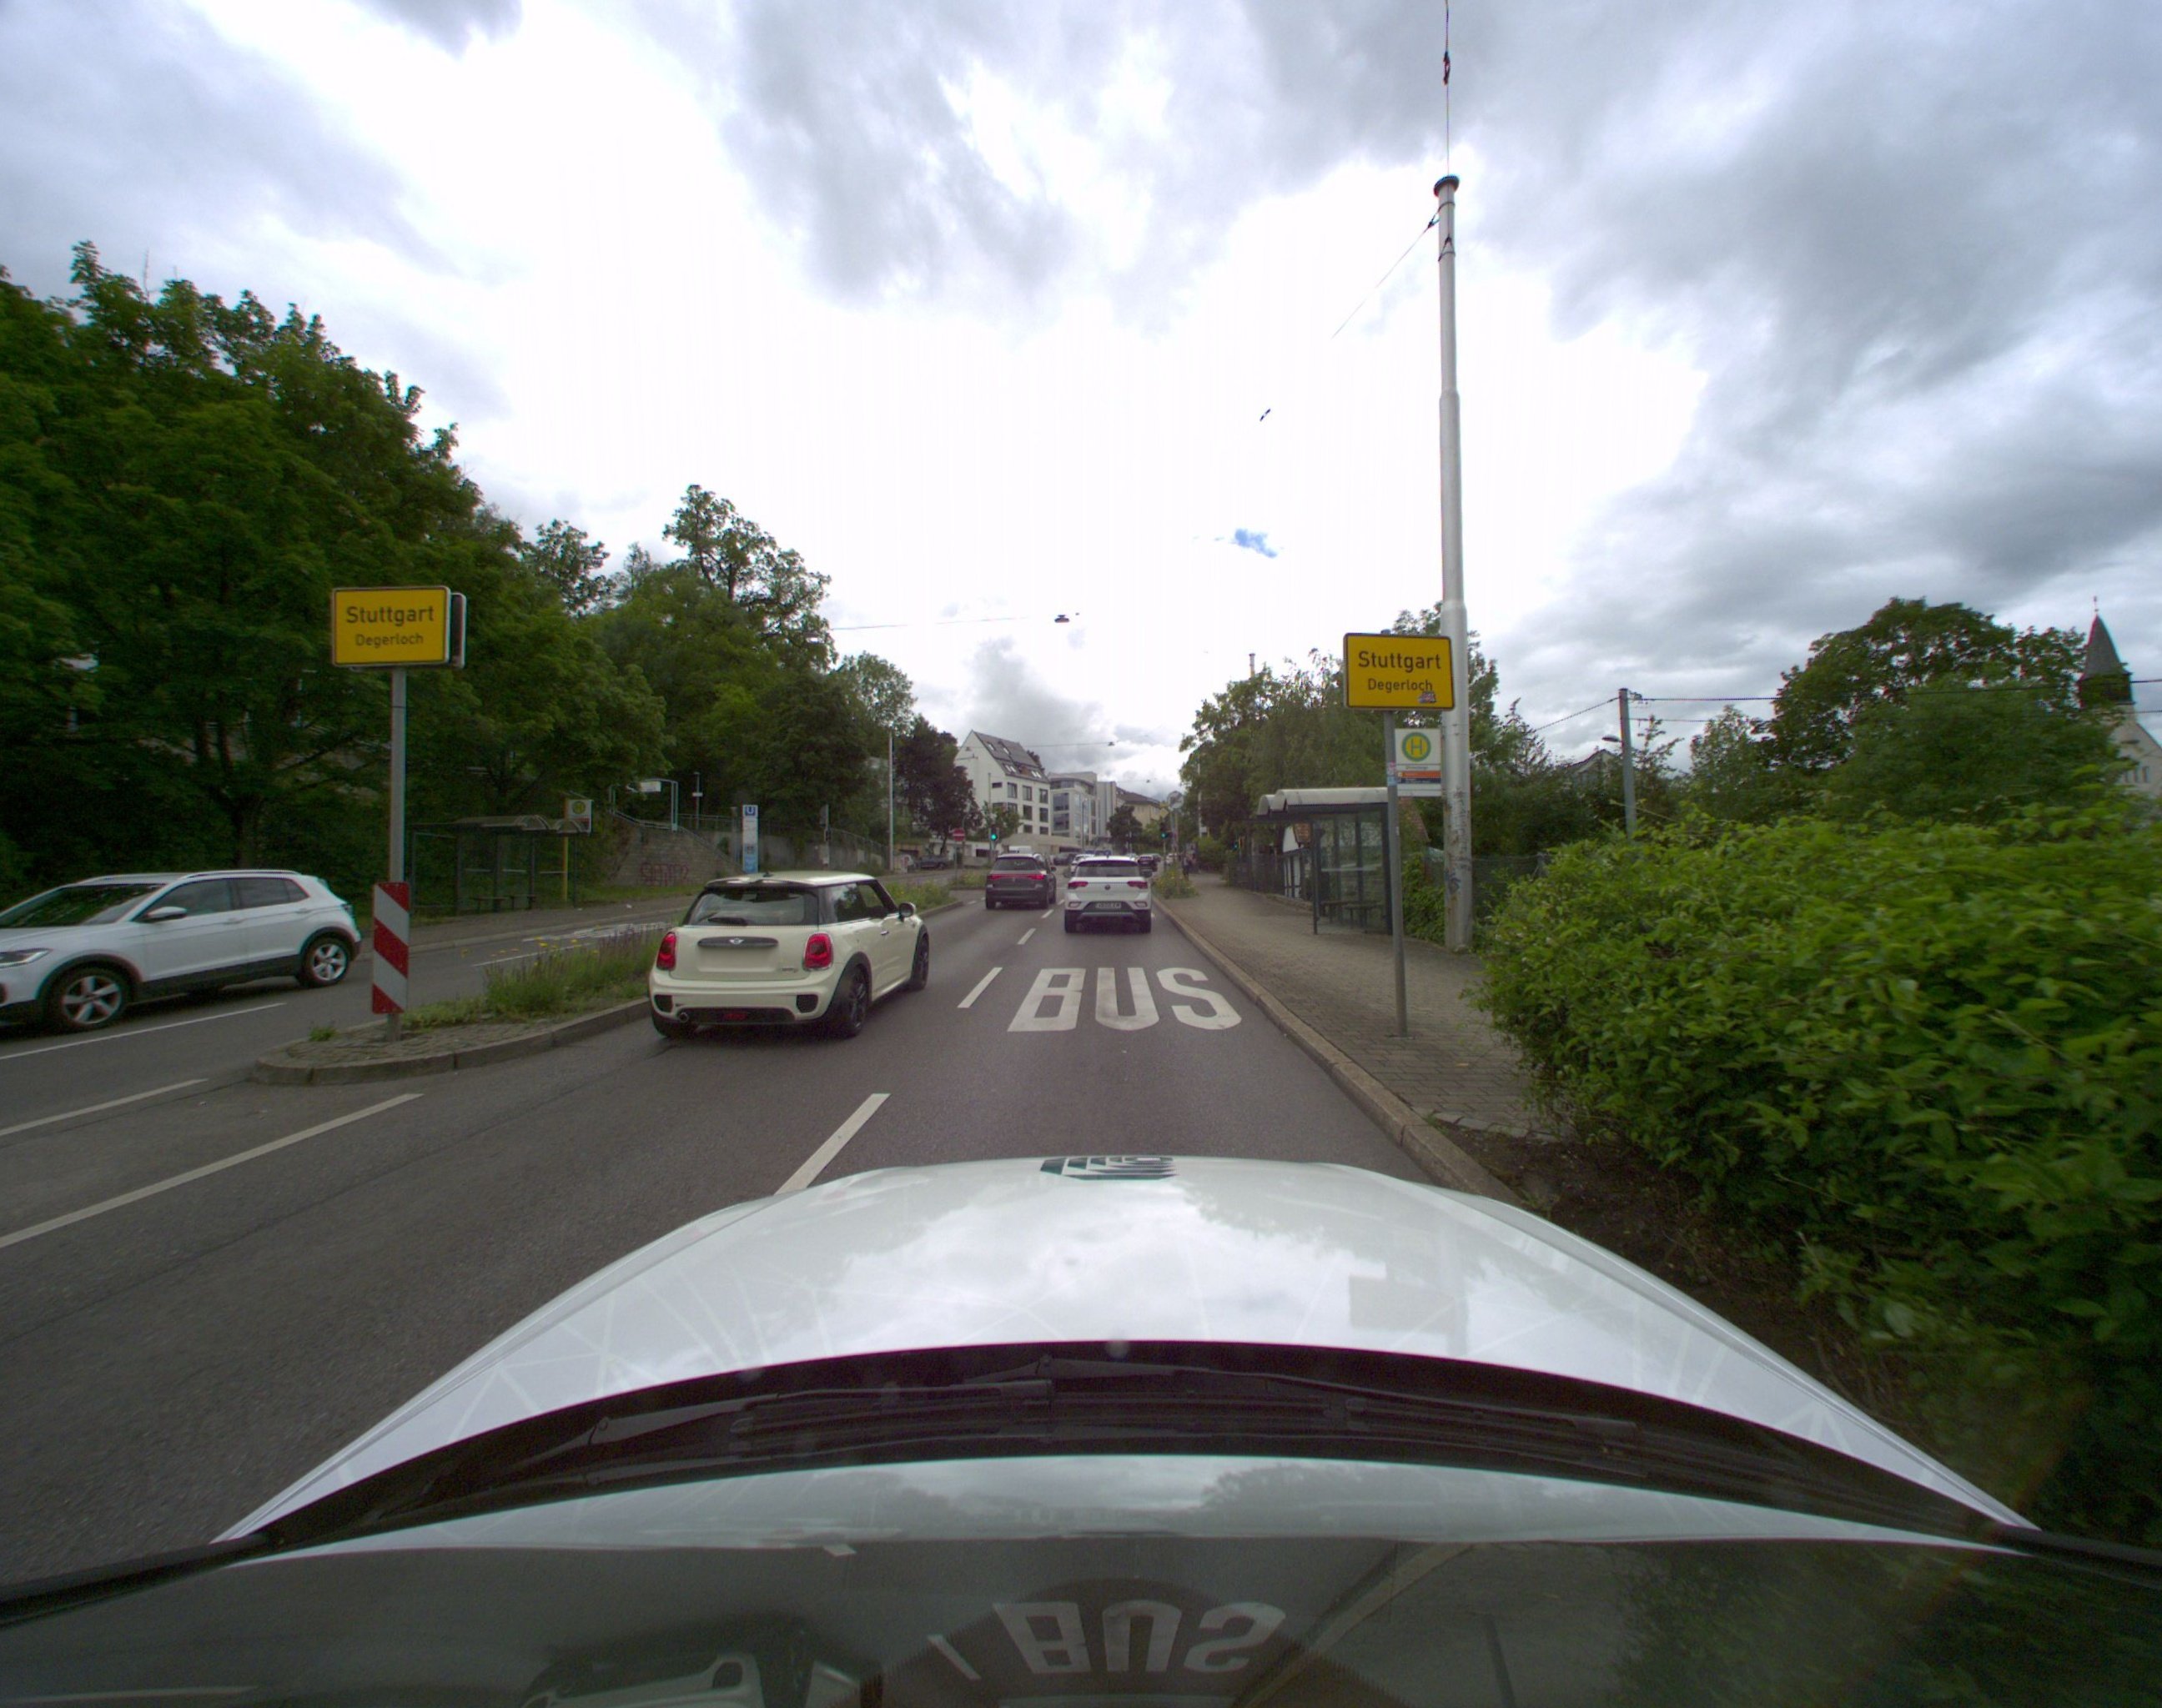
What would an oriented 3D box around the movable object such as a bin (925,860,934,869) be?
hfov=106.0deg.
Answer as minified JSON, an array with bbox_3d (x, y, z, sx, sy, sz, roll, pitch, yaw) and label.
[{"bbox_3d":[-16.134,1.118,86.833,0.633,1.012,0.735,0,-1,37],"label":"movable object such as a bin"}]

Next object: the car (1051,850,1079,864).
[{"bbox_3d":[-2.200,0.420,115.020,1.965,1.967,5.246,-1,0,22],"label":"car"}]

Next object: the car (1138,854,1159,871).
[{"bbox_3d":[6.255,0.797,75.272,1.864,1.501,4.561,2,0,5],"label":"car"}]

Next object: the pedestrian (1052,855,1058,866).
[{"bbox_3d":[-3.736,0.910,116.233,0.678,1.640,0.665,1,0,-31],"label":"pedestrian"}]

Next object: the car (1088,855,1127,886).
[{"bbox_3d":[1.468,0.861,43.366,1.865,1.501,4.559,2,0,3],"label":"car"}]

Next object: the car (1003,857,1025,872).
[{"bbox_3d":[-6.935,1.083,84.880,1.710,1.393,4.612,-1,0,3],"label":"car"}]

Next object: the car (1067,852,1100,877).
[{"bbox_3d":[0.197,0.706,56.563,1.849,1.652,4.642,-2,0,5],"label":"car"}]

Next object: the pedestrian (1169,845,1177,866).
[{"bbox_3d":[8.353,0.143,74.305,0.689,1.834,0.621,0,0,9],"label":"pedestrian"}]

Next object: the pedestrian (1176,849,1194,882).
[{"bbox_3d":[5.455,0.583,42.716,0.687,1.689,0.623,-3,-2,23],"label":"pedestrian"}]

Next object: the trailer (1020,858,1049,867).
[{"bbox_3d":[-6.147,1.097,108.159,2.229,1.112,4.643,-1,0,17],"label":"trailer"}]

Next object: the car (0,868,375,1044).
[{"bbox_3d":[-10.712,0.966,9.364,1.724,1.541,4.040,-1,0,-2],"label":"car"}]

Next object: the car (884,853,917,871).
[{"bbox_3d":[-16.644,0.738,75.231,2.712,1.520,1.552,2,-1,-22],"label":"car"}]

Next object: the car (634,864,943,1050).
[{"bbox_3d":[-2.631,0.839,8.245,1.621,1.393,3.569,-2,0,3],"label":"car"}]

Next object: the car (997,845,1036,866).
[{"bbox_3d":[-7.994,0.171,102.402,2.214,2.568,7.456,-1,0,17],"label":"car"}]

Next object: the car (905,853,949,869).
[{"bbox_3d":[-15.025,0.677,79.780,4.116,1.540,1.595,-1,0,-7],"label":"car"}]

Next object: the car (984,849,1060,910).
[{"bbox_3d":[-1.724,0.718,25.326,1.806,1.652,4.638,-2,0,2],"label":"car"}]

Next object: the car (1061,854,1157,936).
[{"bbox_3d":[0.545,0.797,17.629,1.806,1.539,3.689,-2,0,0],"label":"car"}]

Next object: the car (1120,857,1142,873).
[{"bbox_3d":[5.269,1.132,85.425,1.847,1.500,4.065,-2,0,8],"label":"car"}]

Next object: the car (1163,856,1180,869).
[{"bbox_3d":[11.080,1.000,99.396,1.847,1.500,4.066,-2,0,9],"label":"car"}]
